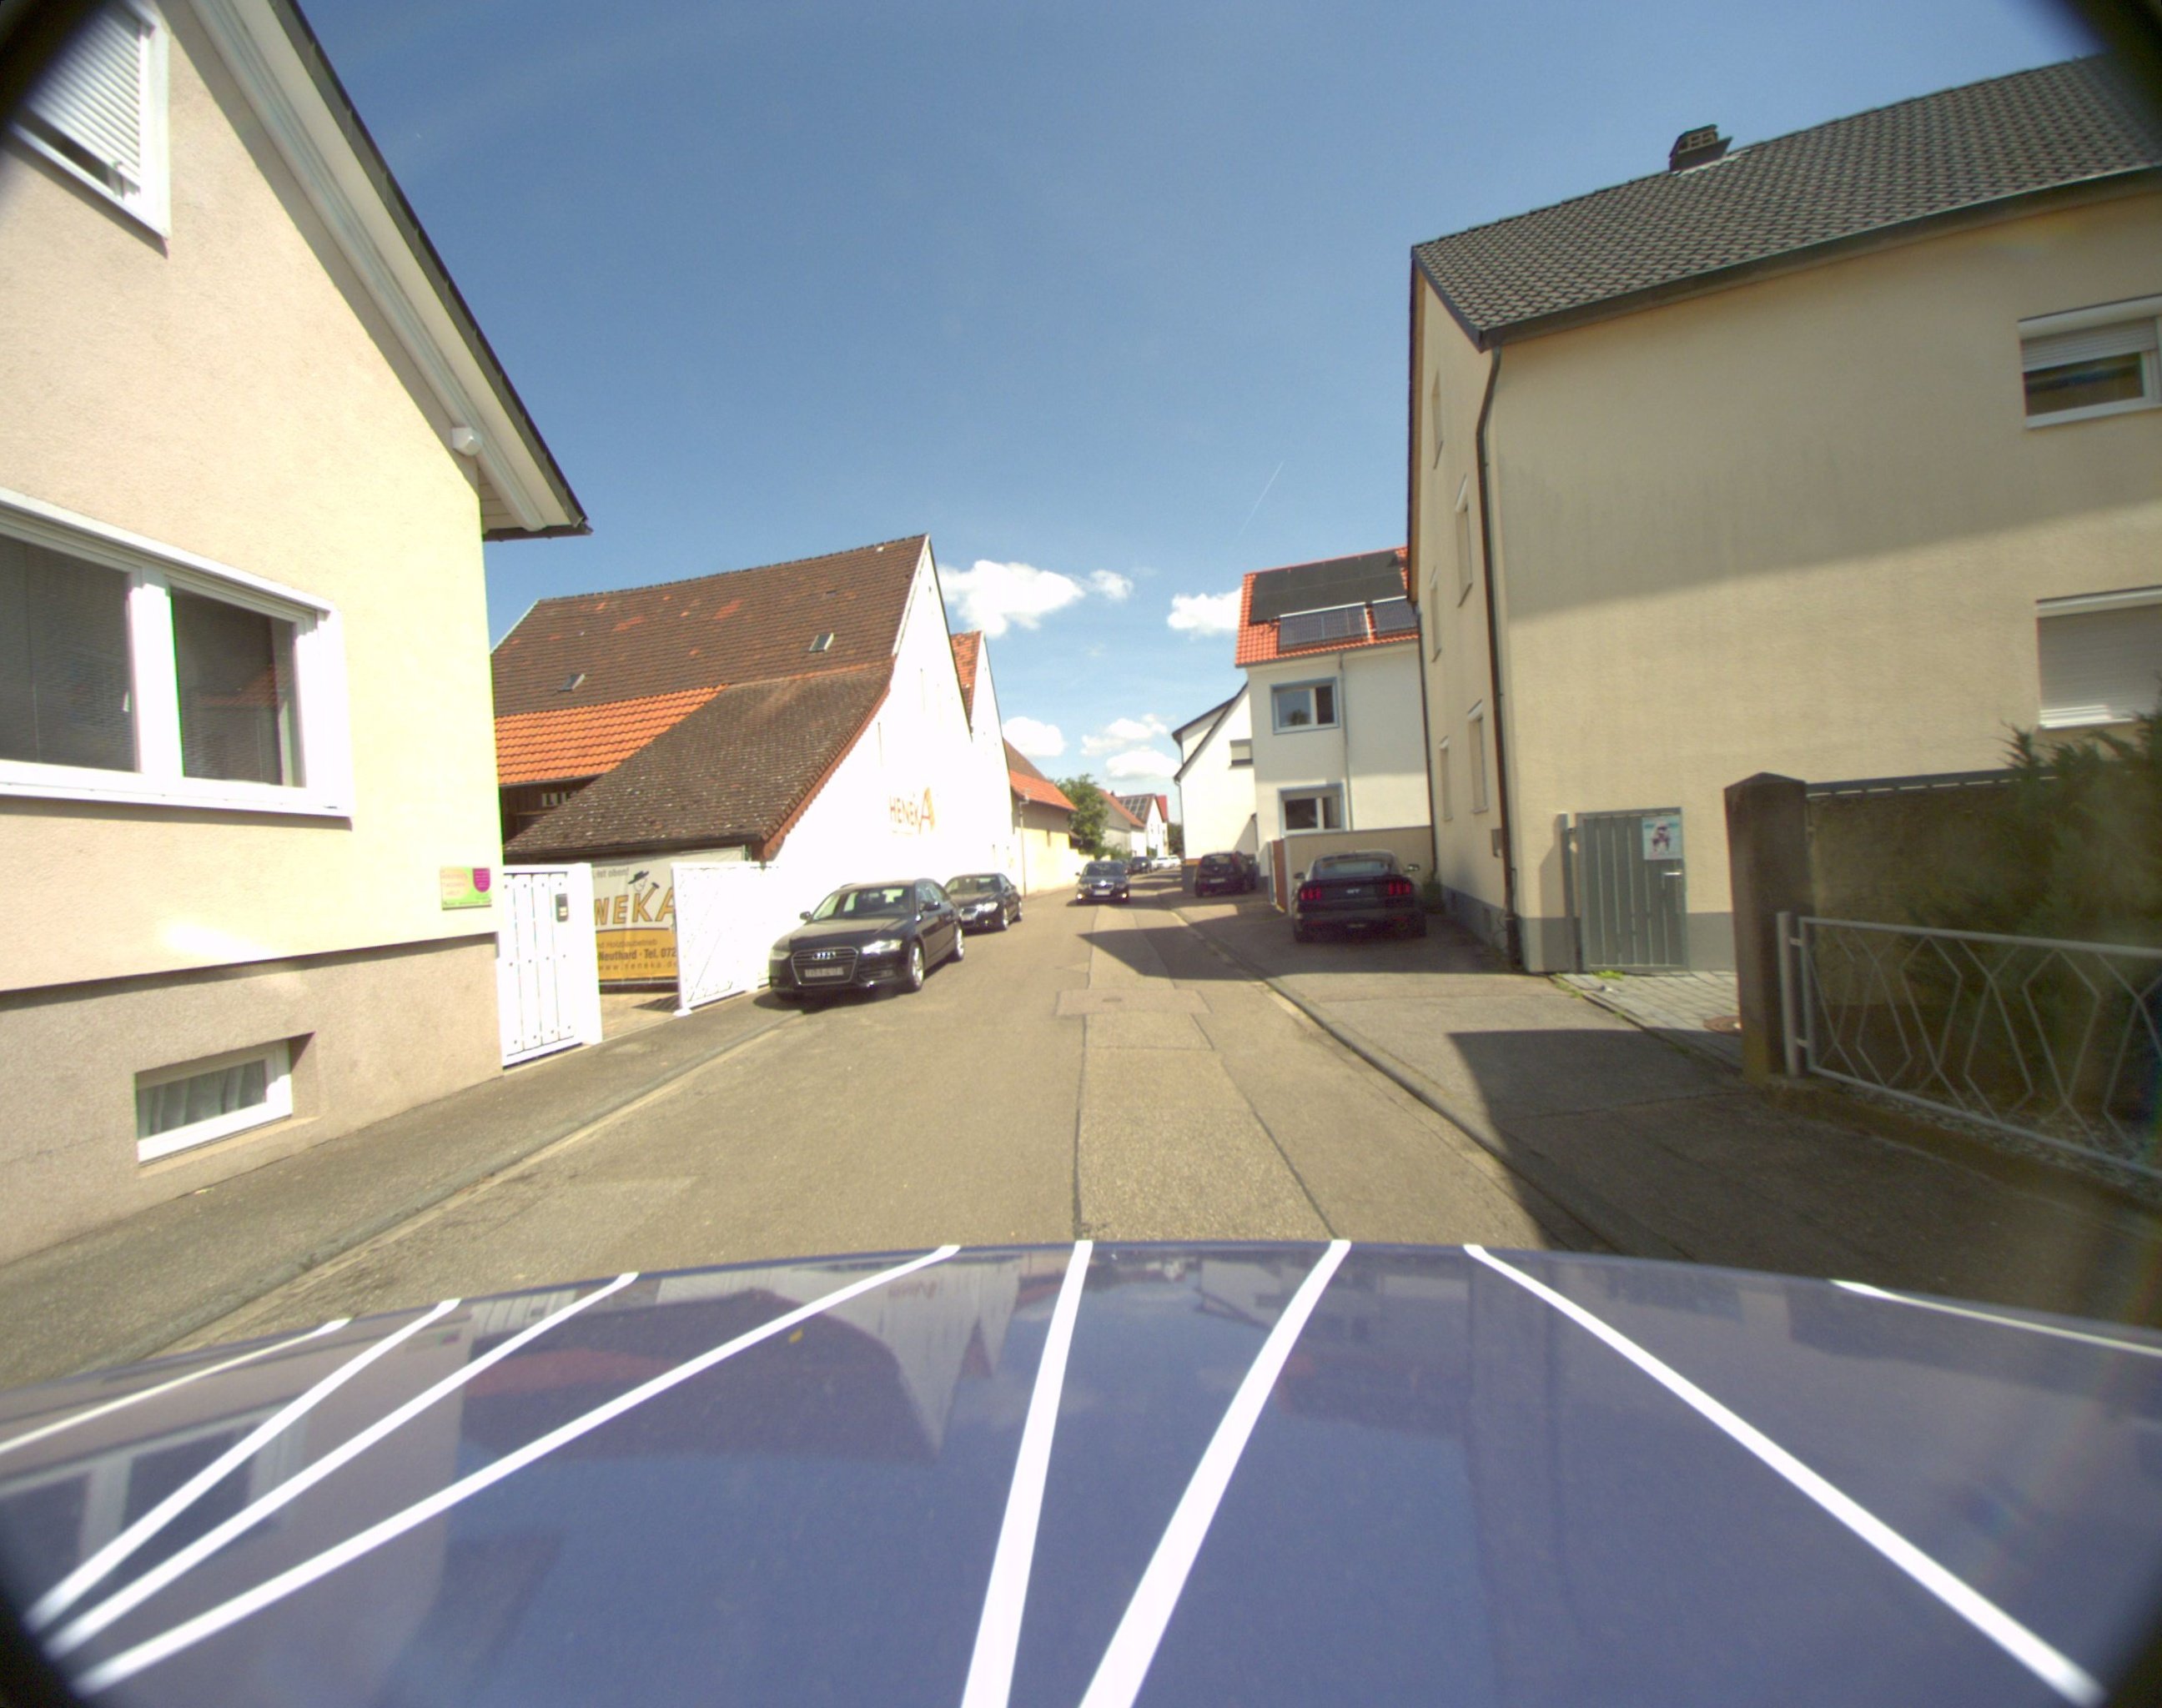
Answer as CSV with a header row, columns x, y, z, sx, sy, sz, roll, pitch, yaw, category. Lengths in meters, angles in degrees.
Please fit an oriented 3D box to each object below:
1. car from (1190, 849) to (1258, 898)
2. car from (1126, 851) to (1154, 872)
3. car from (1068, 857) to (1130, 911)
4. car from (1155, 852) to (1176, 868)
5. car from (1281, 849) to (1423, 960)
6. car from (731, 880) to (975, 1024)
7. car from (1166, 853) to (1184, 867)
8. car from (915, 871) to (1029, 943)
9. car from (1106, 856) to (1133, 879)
x,y,z,sx,sy,sz,roll,pitch,yaw,category
5.040,0.624,26.421,1.640,1.446,3.792,-5,-1,19,car
5.151,0.635,65.836,1.783,1.600,4.003,-6,0,13,car
0.710,0.942,25.811,1.784,1.527,4.711,-3,0,4,car
9.539,0.684,85.841,1.783,1.491,4.042,-6,0,13,car
4.574,0.710,12.734,1.772,1.341,4.475,-5,0,21,car
-2.951,1.210,11.086,1.900,1.357,4.737,-4,0,2,car
12.126,0.730,98.168,1.783,1.491,4.042,-6,0,13,car
-2.581,1.233,19.160,1.900,1.357,4.415,-4,0,4,car
2.915,0.981,56.667,1.784,1.470,4.002,-3,0,6,car
